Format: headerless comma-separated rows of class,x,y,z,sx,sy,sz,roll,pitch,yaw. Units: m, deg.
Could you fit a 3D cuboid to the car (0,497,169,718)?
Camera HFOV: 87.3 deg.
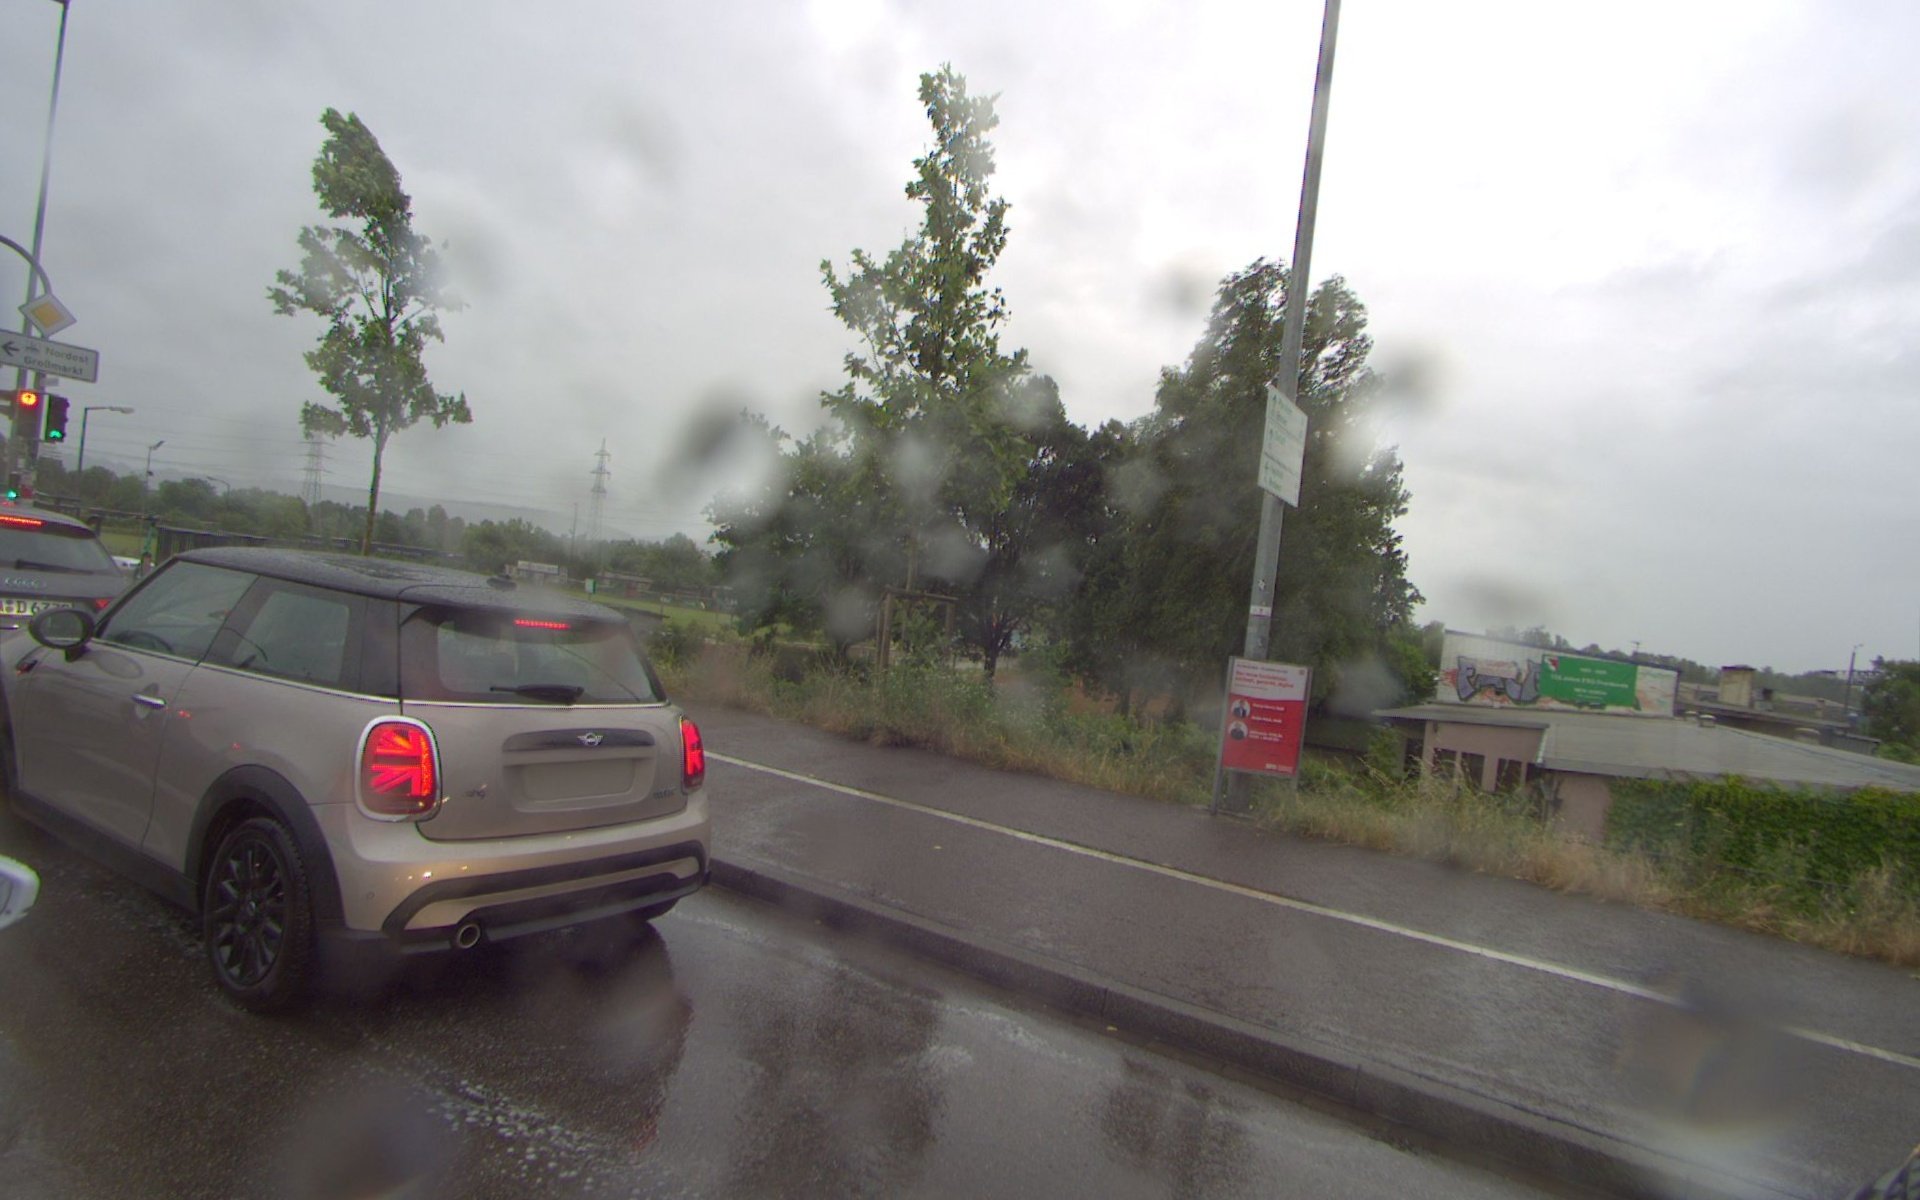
car,-7.504,-0.084,7.237,3.570,1.383,1.599,5,-1,31

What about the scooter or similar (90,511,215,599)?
scooter or similar,-13.878,-0.794,17.248,2.971,1.226,0.691,7,0,33

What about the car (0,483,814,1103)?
car,-2.736,0.474,4.321,3.815,1.524,1.707,6,-4,32

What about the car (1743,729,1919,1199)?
car,3.064,1.187,0.847,3.557,1.526,1.556,7,-1,32
